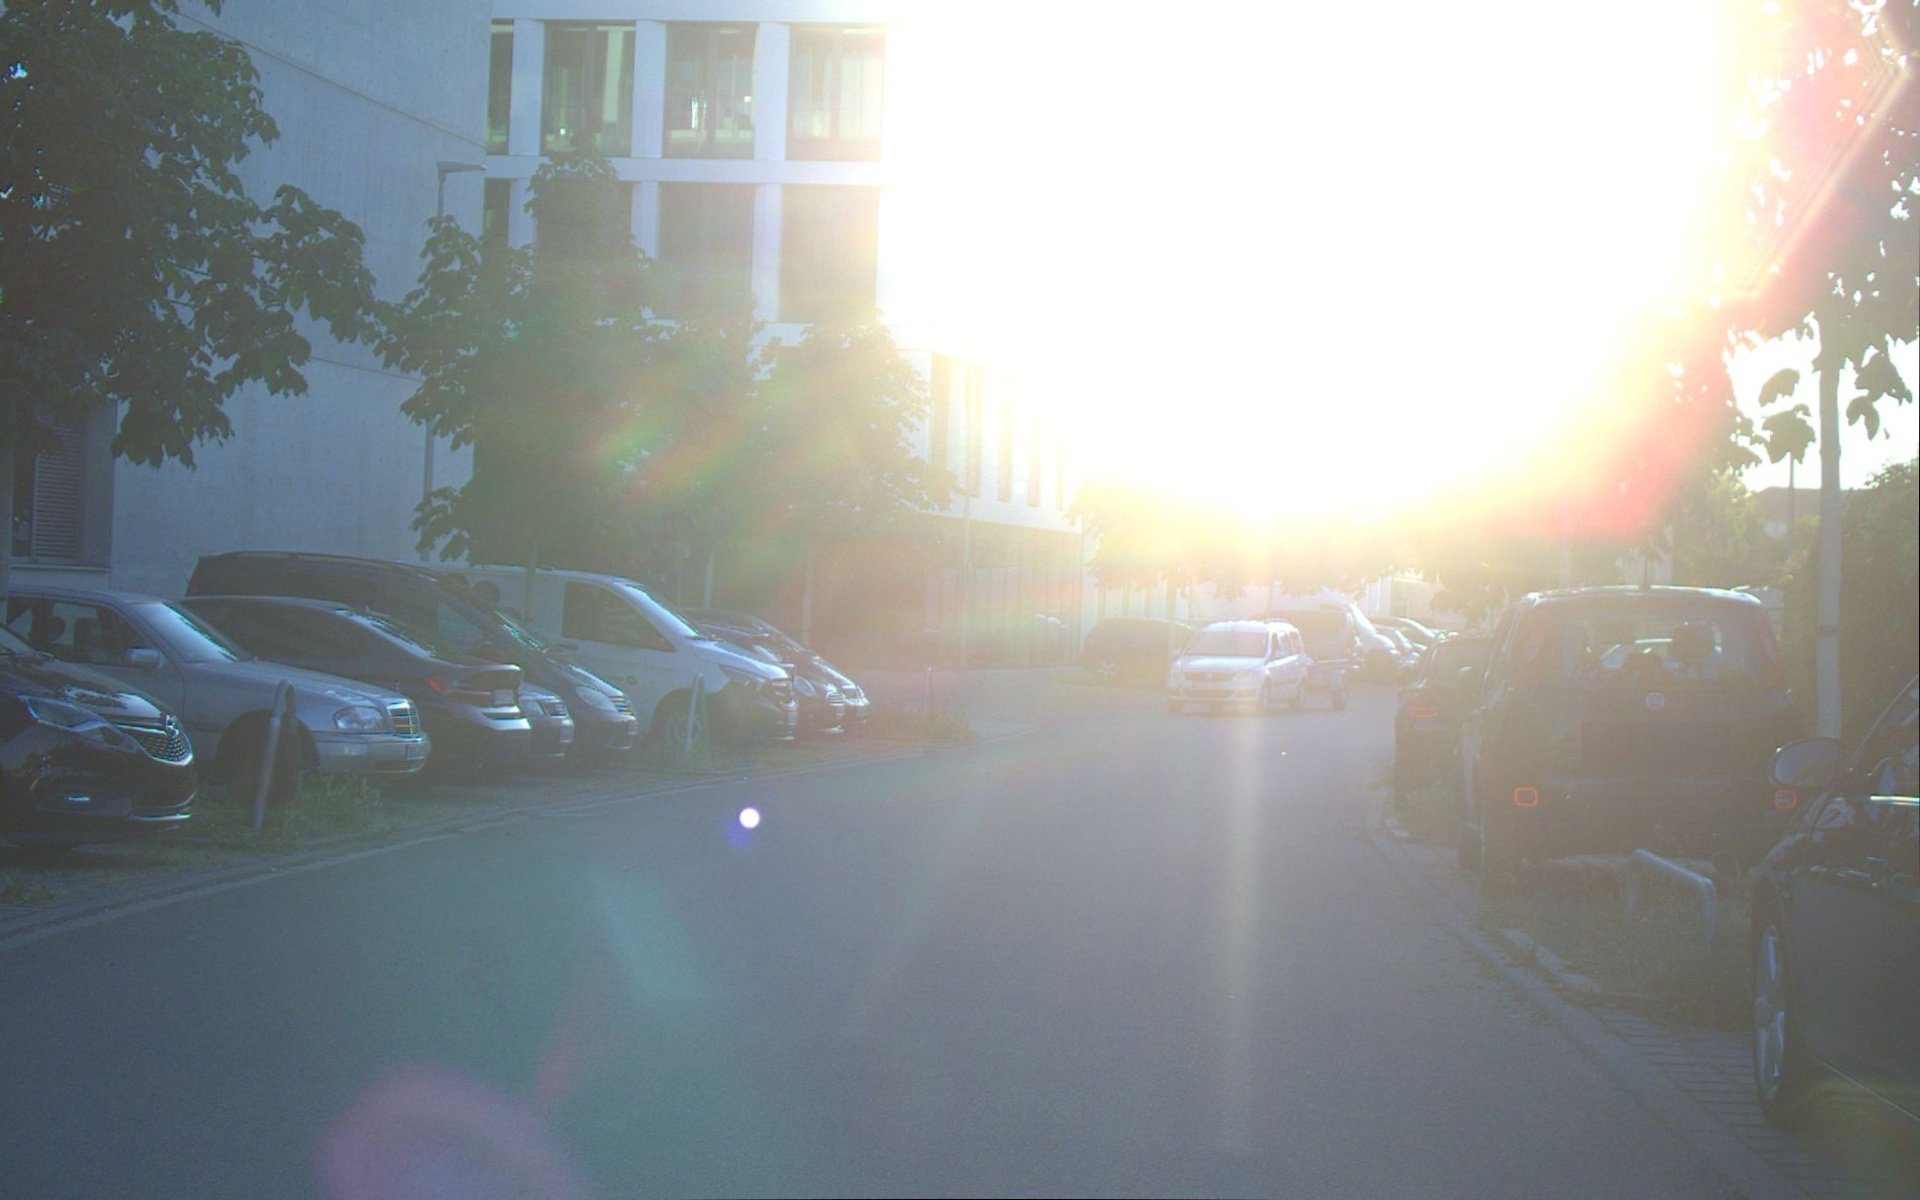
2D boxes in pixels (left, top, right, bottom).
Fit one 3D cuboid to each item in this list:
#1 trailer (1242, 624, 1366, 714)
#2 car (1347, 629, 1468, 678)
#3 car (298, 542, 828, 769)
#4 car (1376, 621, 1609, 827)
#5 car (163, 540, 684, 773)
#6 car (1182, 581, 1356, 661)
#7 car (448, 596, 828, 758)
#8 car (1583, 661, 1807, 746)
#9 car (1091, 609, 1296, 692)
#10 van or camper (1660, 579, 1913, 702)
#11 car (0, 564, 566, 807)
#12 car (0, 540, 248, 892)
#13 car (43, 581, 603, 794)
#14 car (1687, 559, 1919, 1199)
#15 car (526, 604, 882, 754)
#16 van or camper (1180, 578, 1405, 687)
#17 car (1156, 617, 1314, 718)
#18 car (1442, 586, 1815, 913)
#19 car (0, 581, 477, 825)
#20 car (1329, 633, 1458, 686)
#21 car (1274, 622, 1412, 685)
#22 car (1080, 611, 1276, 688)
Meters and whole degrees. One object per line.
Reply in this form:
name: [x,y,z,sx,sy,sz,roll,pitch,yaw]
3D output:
trailer: [6.471,1.265,64.385,1.707,1.344,3.485,5,3,14]
car: [13.866,1.645,106.441,3.562,1.474,1.457,0,0,16]
car: [-4.109,0.572,35.995,5.078,1.940,1.888,4,-1,8]
car: [4.273,0.950,27.792,1.693,1.504,4.191,1,-1,8]
car: [-4.815,0.506,31.162,4.248,1.736,1.724,4,-1,7]
car: [7.567,0.494,84.081,4.052,1.902,1.735,0,0,12]
car: [-3.650,0.872,39.303,3.988,1.517,1.605,4,-1,7]
car: [13.734,1.923,64.447,4.051,1.474,1.767,0,0,10]
car: [4.959,1.057,72.782,4.052,1.474,1.766,3,1,13]
van or camper: [19.145,0.916,79.905,5.612,2.780,2.428,0,0,11]
car: [-5.422,0.619,26.188,4.399,1.494,1.762,4,-1,11]
car: [-6.115,0.494,17.887,4.309,1.690,1.896,3,-1,3]
car: [-5.230,0.713,28.496,4.145,1.399,1.724,4,-1,7]
car: [2.894,0.704,7.748,1.711,1.544,4.548,1,0,3]
car: [-3.040,0.933,41.128,3.888,1.483,1.650,4,0,9]
van or camper: [8.600,0.821,88.929,5.456,2.475,1.774,3,1,16]
car: [4.850,1.206,59.946,1.954,1.680,4.718,0,-2,14]
car: [3.393,0.723,17.952,1.577,1.504,3.495,1,-1,6]
car: [-5.743,0.652,23.708,4.435,1.459,1.763,2,0,7]
car: [12.655,1.725,100.333,3.562,1.474,1.457,0,0,16]
car: [10.424,1.444,93.522,3.562,1.646,1.457,0,0,16]
car: [4.905,1.112,77.324,4.053,1.474,1.766,3,0,16]
